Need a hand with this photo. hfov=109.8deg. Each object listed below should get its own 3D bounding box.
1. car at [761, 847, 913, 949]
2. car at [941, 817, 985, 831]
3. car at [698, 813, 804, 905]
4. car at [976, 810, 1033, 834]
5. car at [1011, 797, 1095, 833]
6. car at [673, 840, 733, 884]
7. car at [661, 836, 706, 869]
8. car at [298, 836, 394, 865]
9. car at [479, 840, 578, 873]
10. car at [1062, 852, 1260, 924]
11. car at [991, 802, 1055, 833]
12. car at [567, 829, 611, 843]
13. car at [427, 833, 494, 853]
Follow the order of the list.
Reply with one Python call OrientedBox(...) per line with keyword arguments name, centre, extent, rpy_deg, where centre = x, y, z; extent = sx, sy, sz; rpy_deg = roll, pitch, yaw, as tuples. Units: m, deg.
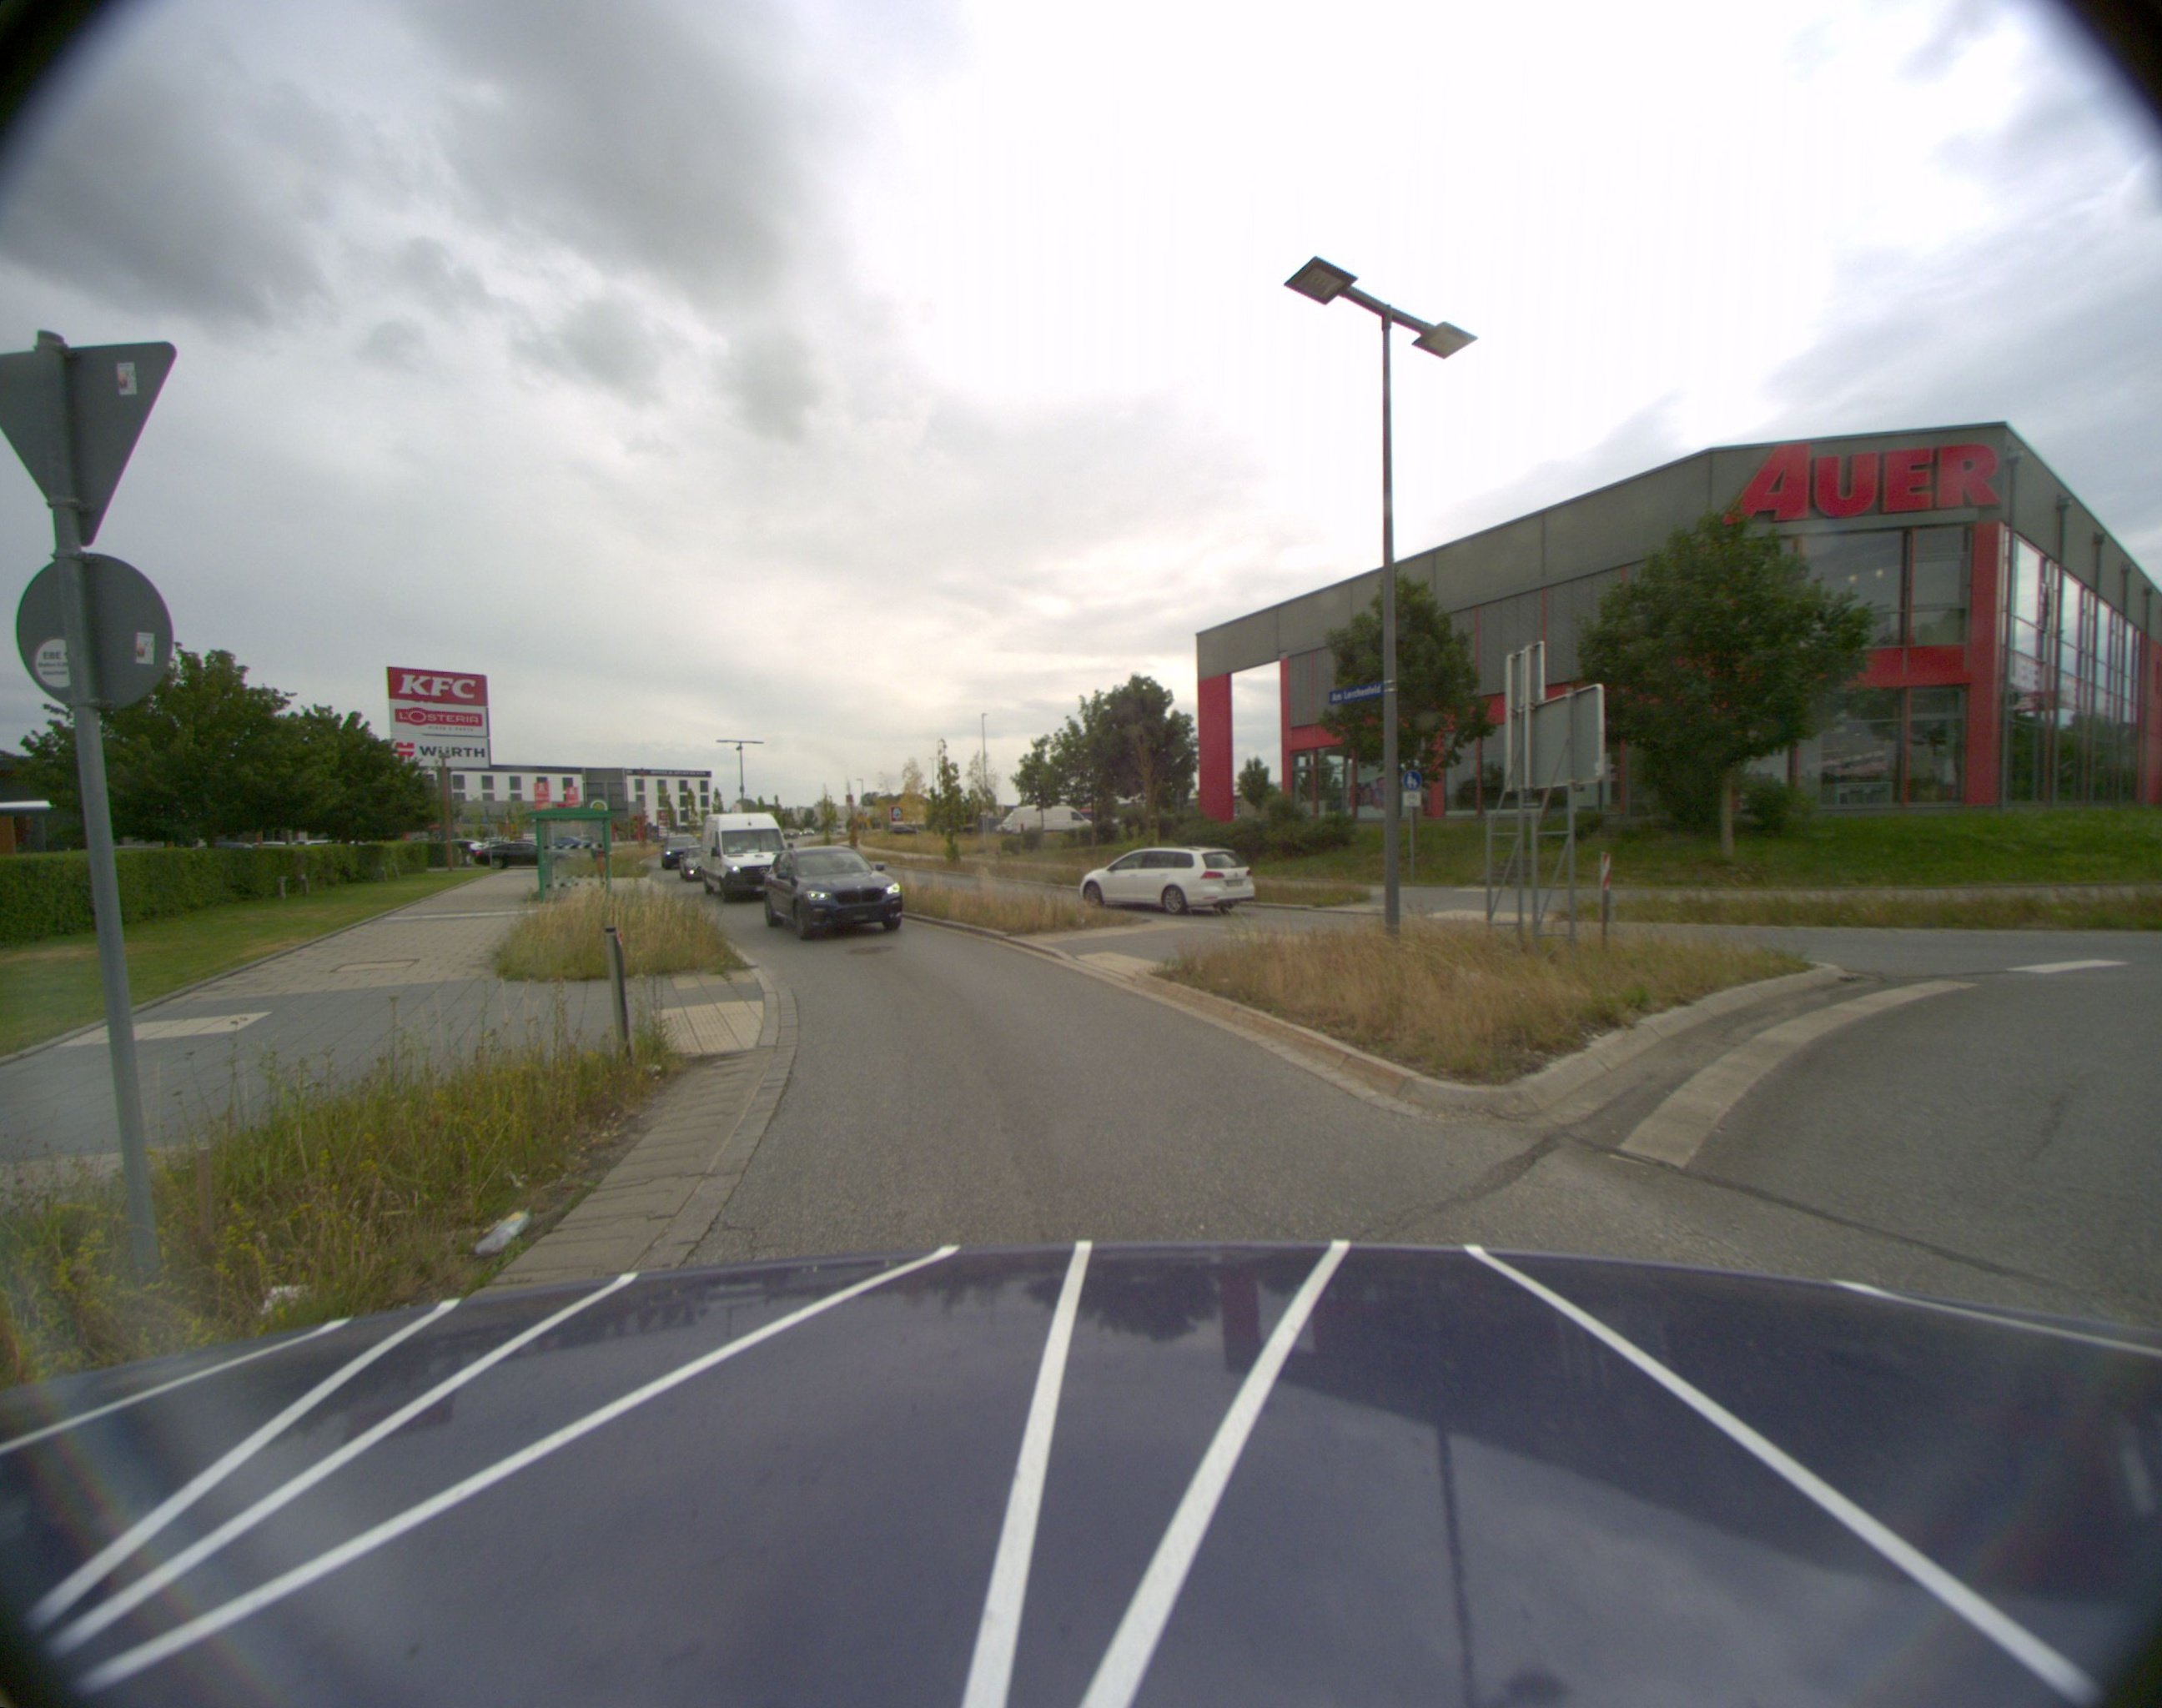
OrientedBox(name="car", centre=(-4.971, 0.734, 15.122), extent=(1.871, 1.599, 3.989), rpy_deg=(-3, 3, -33))
OrientedBox(name="car", centre=(-14.758, -3.721, 94.912), extent=(5.062, 1.647, 2.060), rpy_deg=(-2, 3, -22))
OrientedBox(name="car", centre=(-10.517, 0.014, 23.887), extent=(2.030, 2.514, 6.088), rpy_deg=(-3, 3, -33))
OrientedBox(name="car", centre=(-7.338, -3.105, 73.198), extent=(5.063, 2.212, 2.059), rpy_deg=(-2, 3, -25))
OrientedBox(name="car", centre=(-2.252, -3.201, 61.455), extent=(6.427, 2.610, 2.059), rpy_deg=(-4, 5, -28))
OrientedBox(name="car", centre=(-15.915, 0.260, 31.908), extent=(1.871, 1.599, 3.989), rpy_deg=(-3, 3, -31))
OrientedBox(name="car", centre=(-21.615, -0.147, 41.255), extent=(1.871, 1.599, 3.989), rpy_deg=(-3, 3, -31))
OrientedBox(name="car", centre=(-46.210, -0.266, 47.878), extent=(4.006, 1.478, 1.842), rpy_deg=(-5, 5, -36))
OrientedBox(name="car", centre=(-29.920, 0.094, 41.296), extent=(4.005, 1.478, 1.842), rpy_deg=(-4, 5, -28))
OrientedBox(name="car", centre=(1.698, 0.683, 17.574), extent=(1.731, 1.401, 4.630), rpy_deg=(-2, 2, -40))
OrientedBox(name="car", centre=(-4.967, -3.191, 65.765), extent=(5.064, 2.361, 2.059), rpy_deg=(-5, 5, -31))
OrientedBox(name="car", centre=(-58.954, -2.169, 91.082), extent=(4.002, 1.478, 1.843), rpy_deg=(-3, 5, -15))
OrientedBox(name="car", centre=(-53.106, -0.976, 65.086), extent=(4.004, 1.514, 1.843), rpy_deg=(-2, 3, -24))
